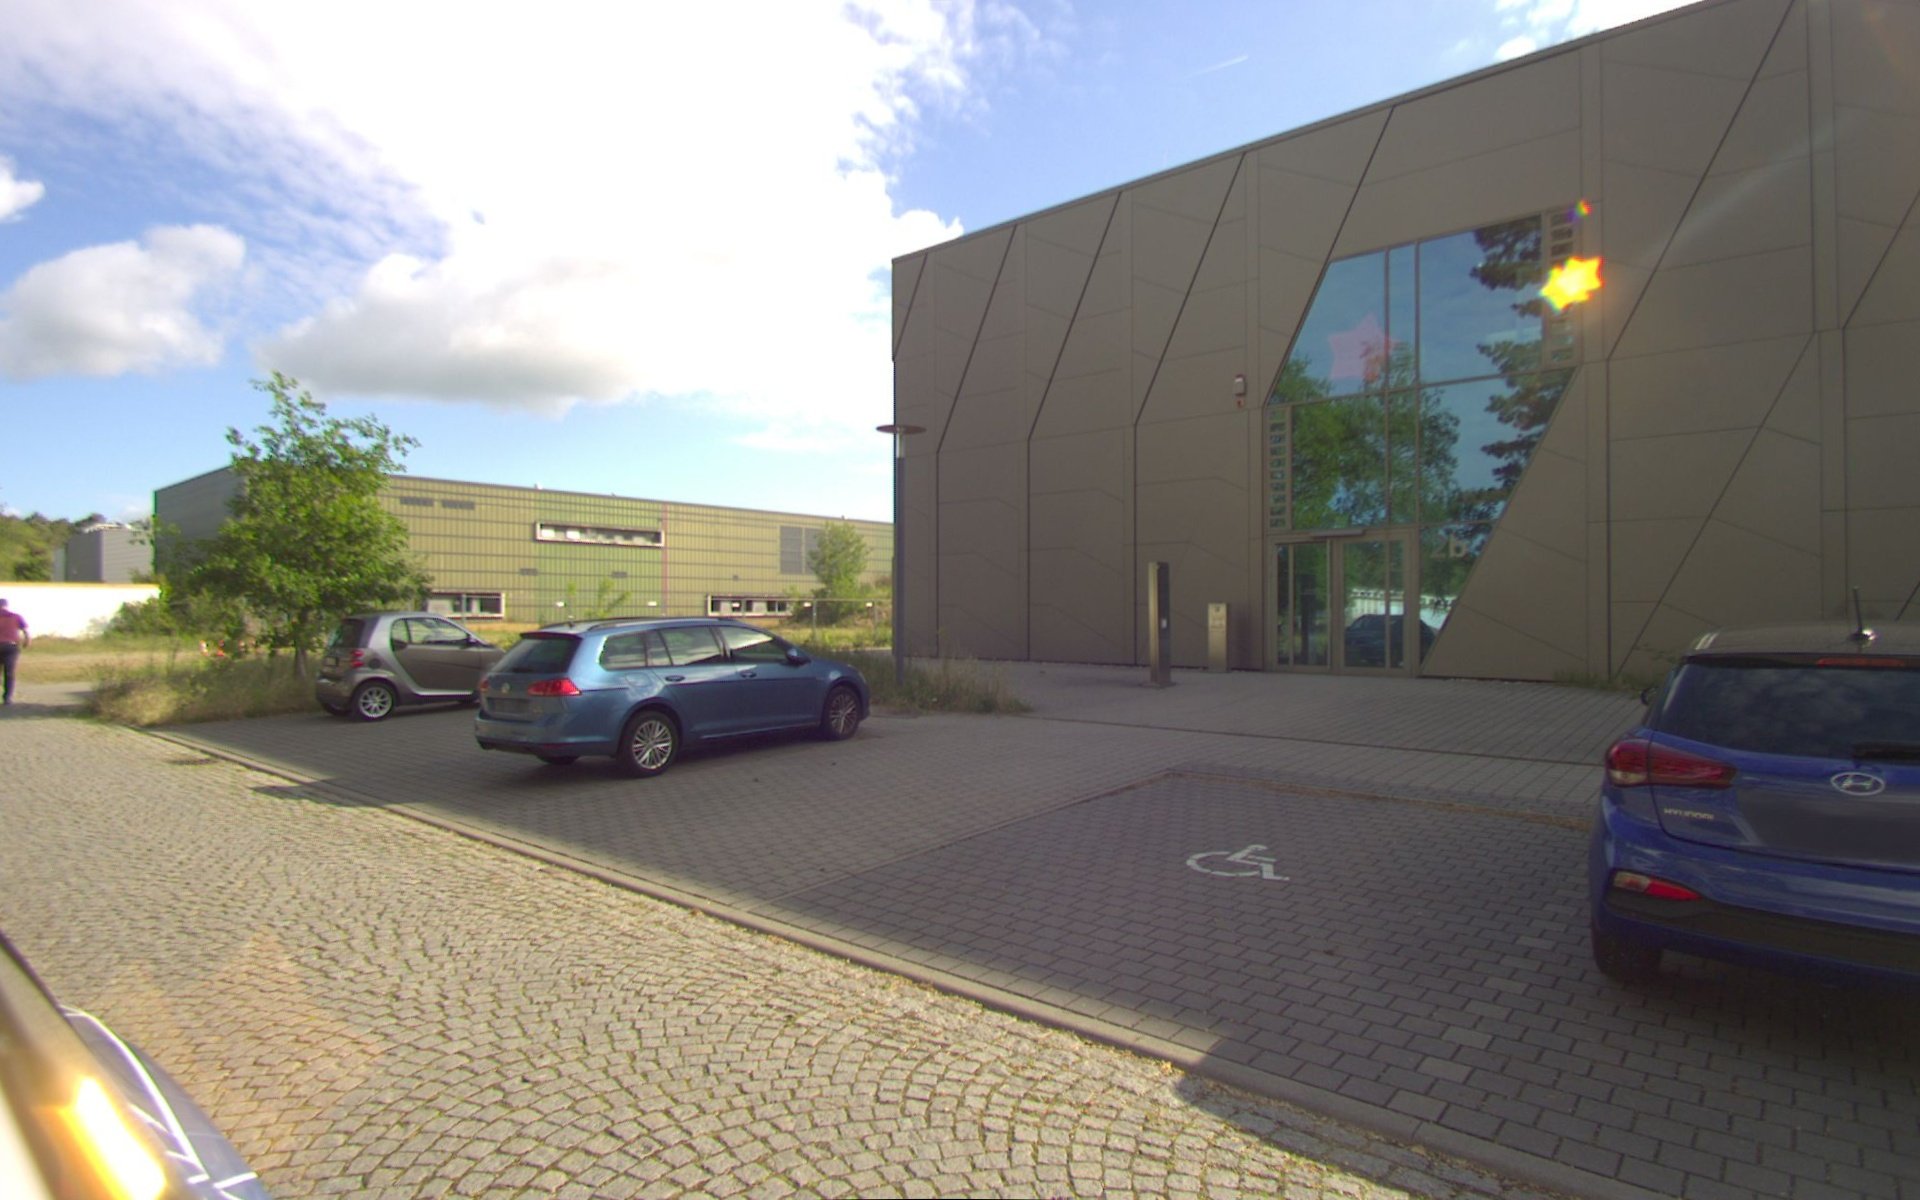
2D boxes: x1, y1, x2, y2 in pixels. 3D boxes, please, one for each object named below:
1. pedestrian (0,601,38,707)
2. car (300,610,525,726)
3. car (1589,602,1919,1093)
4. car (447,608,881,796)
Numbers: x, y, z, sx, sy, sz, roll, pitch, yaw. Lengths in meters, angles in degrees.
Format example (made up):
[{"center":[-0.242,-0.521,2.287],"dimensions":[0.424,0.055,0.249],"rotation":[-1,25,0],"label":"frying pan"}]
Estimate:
[{"center":[-16.718,0.923,17.590],"dimensions":[1.151,1.785,0.797],"rotation":[-1,-1,36],"label":"pedestrian"},{"center":[-8.388,0.964,15.627],"dimensions":[1.517,1.554,2.672],"rotation":[-1,1,39],"label":"car"},{"center":[4.285,0.786,4.612],"dimensions":[1.720,1.475,3.794],"rotation":[-1,1,43],"label":"car"},{"center":[-2.888,0.902,10.729],"dimensions":[1.678,1.475,4.216],"rotation":[-2,0,38],"label":"car"}]
